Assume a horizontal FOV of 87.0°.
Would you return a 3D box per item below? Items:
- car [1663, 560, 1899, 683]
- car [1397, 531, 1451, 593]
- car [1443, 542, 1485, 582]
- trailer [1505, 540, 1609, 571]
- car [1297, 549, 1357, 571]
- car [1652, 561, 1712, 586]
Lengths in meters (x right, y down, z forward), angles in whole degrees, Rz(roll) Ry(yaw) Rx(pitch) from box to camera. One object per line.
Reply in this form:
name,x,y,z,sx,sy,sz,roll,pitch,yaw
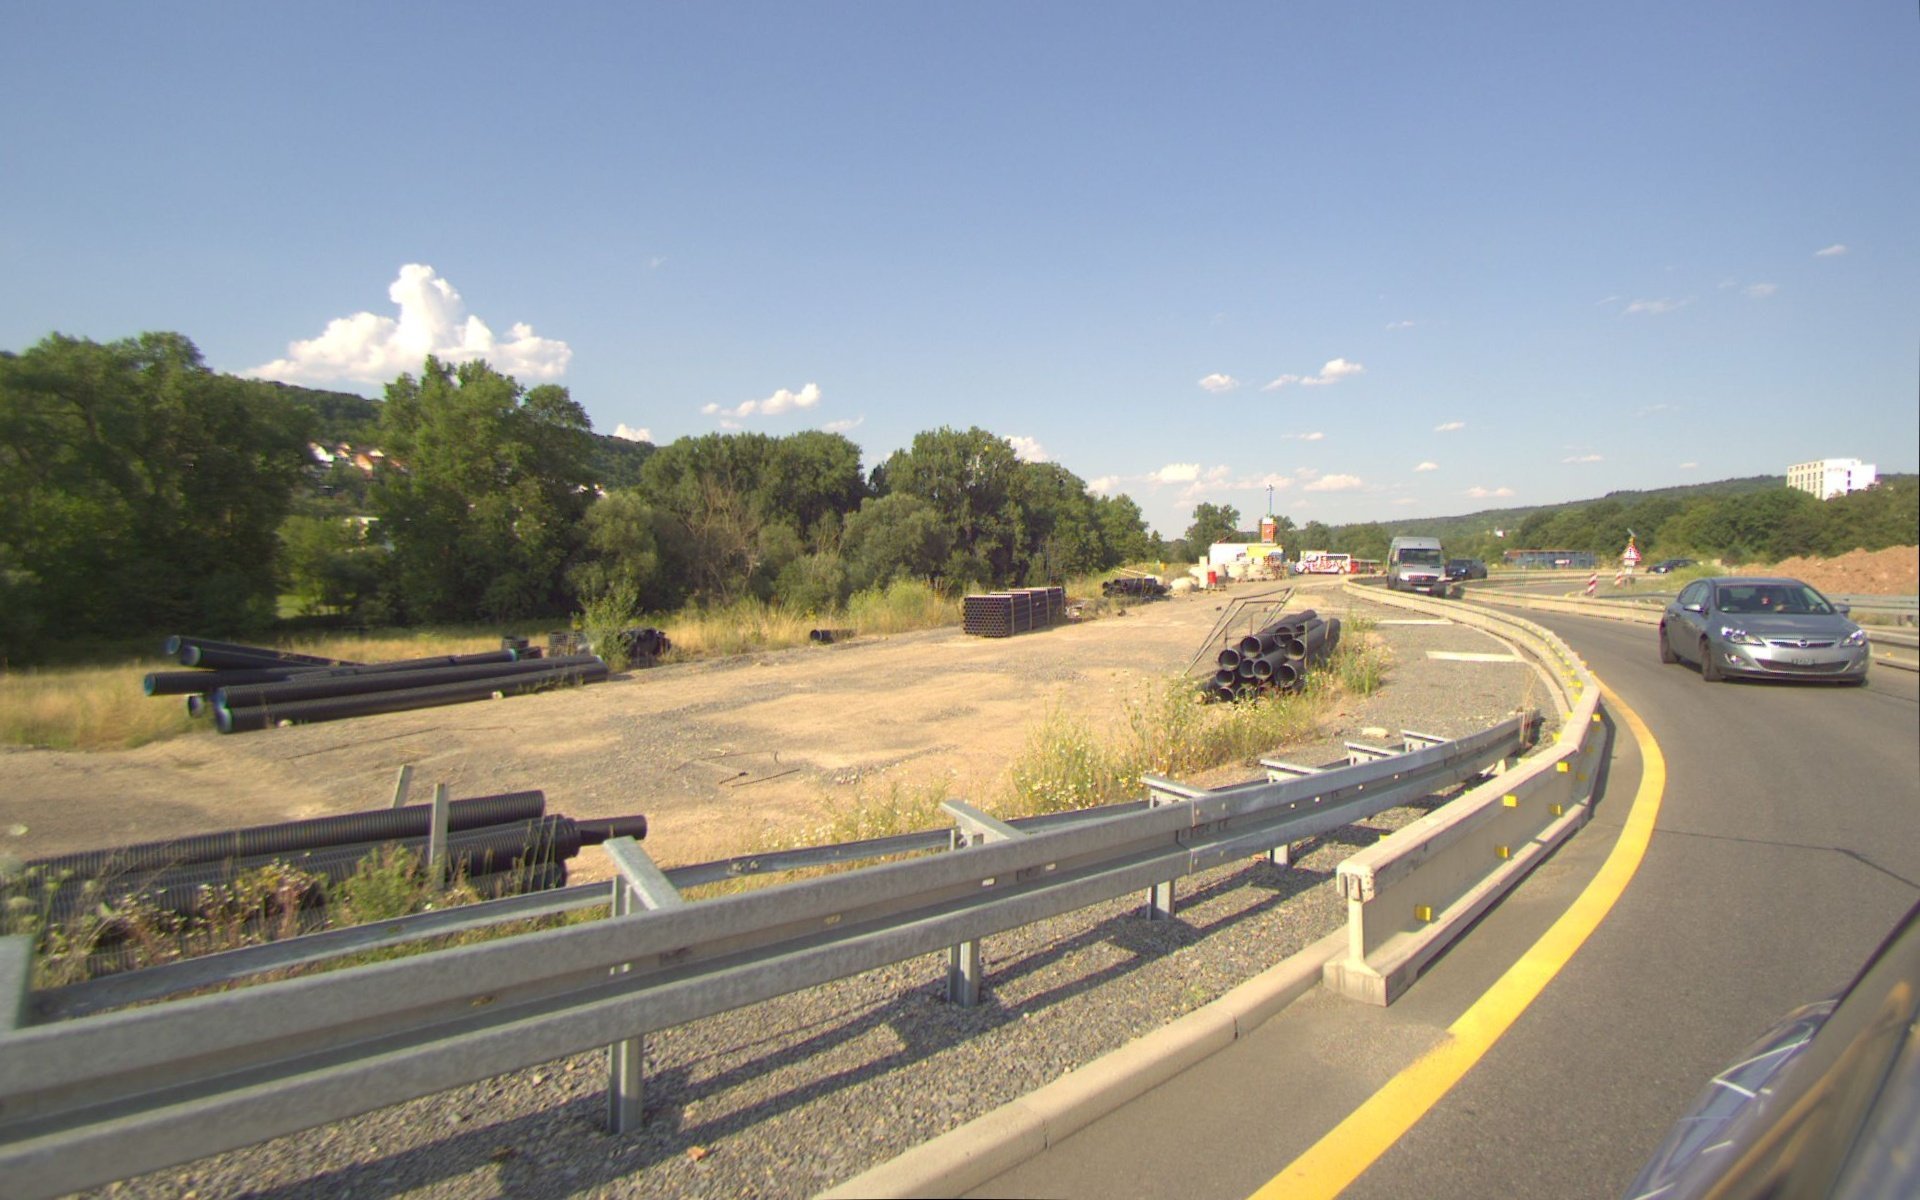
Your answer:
car,11.963,0.223,15.082,1.730,1.502,4.216,-2,2,25
car,20.168,-1.716,44.167,1.896,2.531,5.757,0,3,22
car,32.070,-2.446,64.357,1.865,2.432,3.952,1,3,35
trailer,50.119,-3.705,85.080,7.082,2.443,3.018,-1,2,-7
car,35.903,-3.913,99.126,5.241,2.104,2.478,0,3,14
car,56.418,-2.073,79.120,4.040,1.808,1.641,-2,3,-16
